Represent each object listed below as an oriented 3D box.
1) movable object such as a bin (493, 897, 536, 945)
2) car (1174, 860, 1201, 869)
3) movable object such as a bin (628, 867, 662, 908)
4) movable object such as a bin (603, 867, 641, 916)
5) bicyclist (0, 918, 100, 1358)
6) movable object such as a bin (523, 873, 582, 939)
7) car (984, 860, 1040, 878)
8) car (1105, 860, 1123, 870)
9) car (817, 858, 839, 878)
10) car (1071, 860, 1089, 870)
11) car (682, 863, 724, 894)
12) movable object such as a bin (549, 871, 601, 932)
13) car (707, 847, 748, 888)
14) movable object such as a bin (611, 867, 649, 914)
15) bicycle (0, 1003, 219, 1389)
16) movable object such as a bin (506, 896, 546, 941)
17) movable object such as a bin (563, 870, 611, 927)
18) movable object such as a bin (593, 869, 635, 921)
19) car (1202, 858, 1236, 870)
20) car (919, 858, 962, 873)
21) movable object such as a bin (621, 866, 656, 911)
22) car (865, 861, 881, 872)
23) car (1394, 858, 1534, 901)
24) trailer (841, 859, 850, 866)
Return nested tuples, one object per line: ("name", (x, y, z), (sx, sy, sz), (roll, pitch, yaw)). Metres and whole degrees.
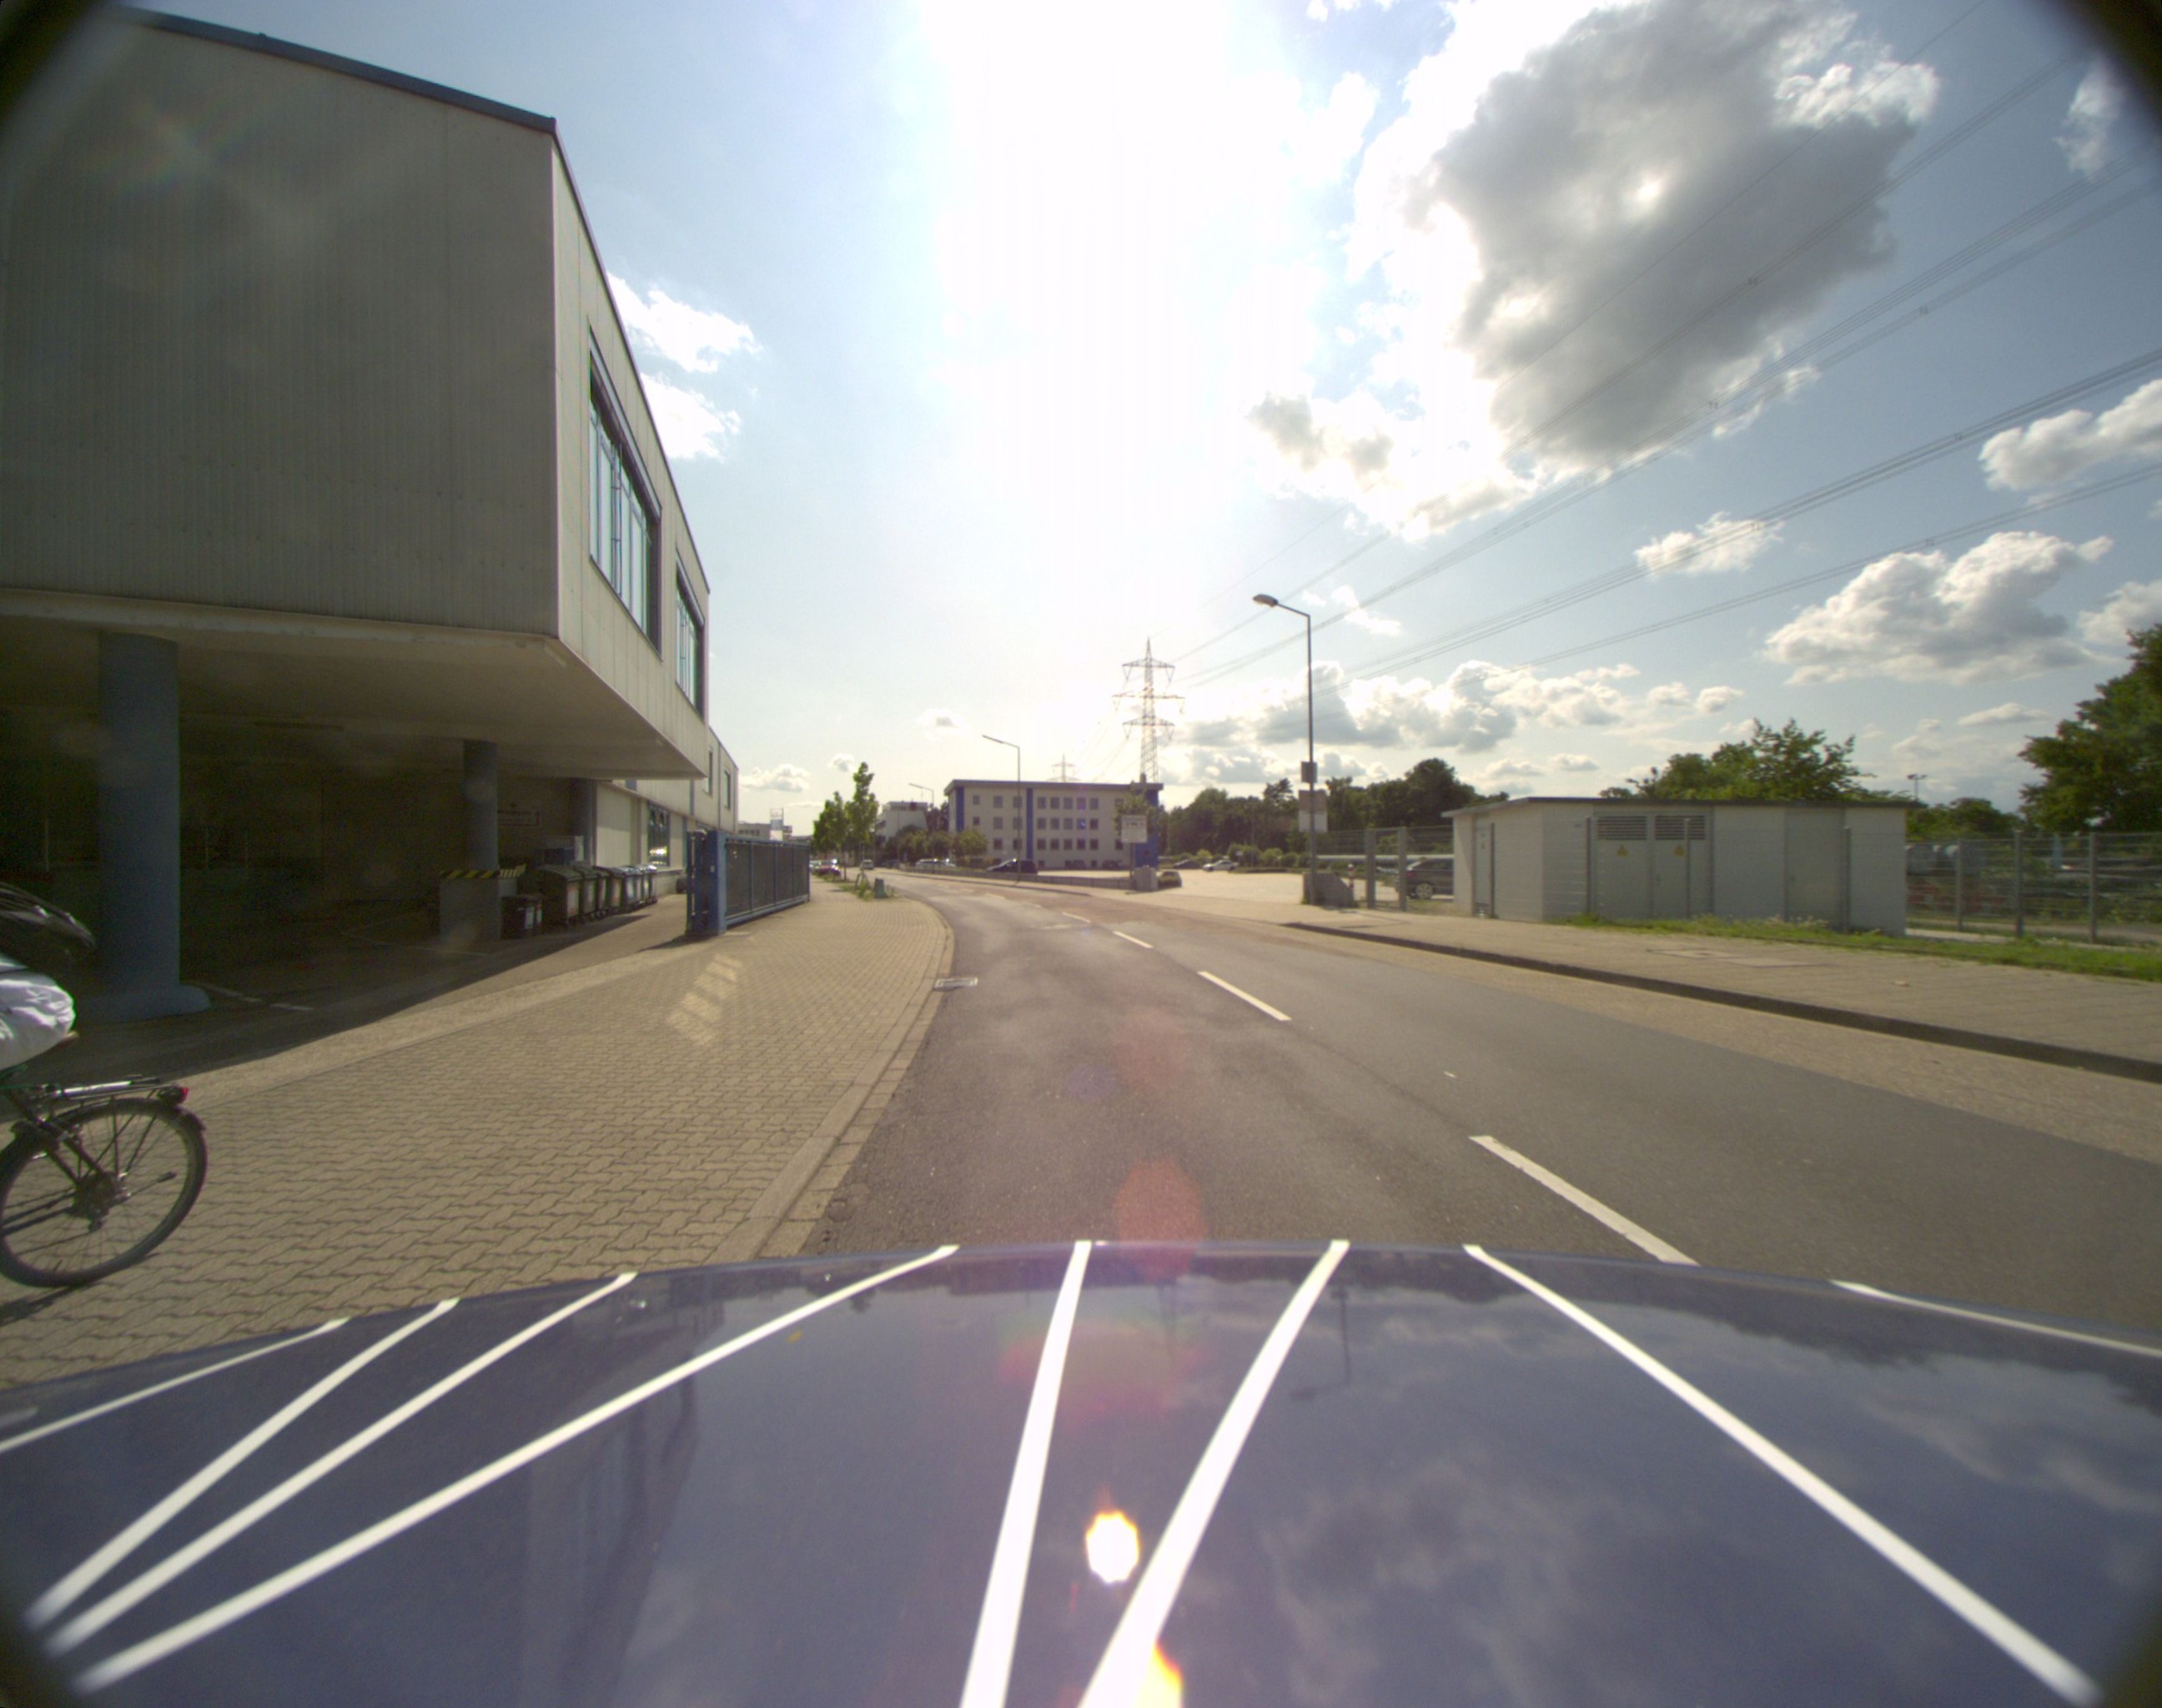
("movable object such as a bin", (-12.057, 1.421, 16.184), (0.590, 0.938, 0.543), (-2, 1, -23))
("car", (15.910, 1.570, 113.775), (3.611, 1.244, 1.801), (0, 0, -13))
("movable object such as a bin", (-15.560, 1.175, 27.139), (0.807, 1.405, 1.355), (-2, 1, -22))
("movable object such as a bin", (-14.020, 1.137, 23.237), (0.807, 1.405, 1.172), (-2, 1, -23))
("bicyclist", (-3.778, 0.924, 2.235), (0.665, 1.389, 0.857), (0, 1, -9))
("movable object such as a bin", (-12.235, 1.167, 17.631), (0.807, 1.405, 1.355), (-2, 1, -23))
("car", (-5.415, 1.173, 59.604), (4.004, 1.368, 1.800), (0, 0, -21))
("car", (4.746, 1.524, 109.652), (1.568, 1.368, 3.674), (-1, 1, -17))
("car", (-22.737, 1.186, 68.235), (1.762, 1.641, 4.669), (-1, 1, -20))
("car", (-0.230, 1.555, 108.925), (1.568, 1.368, 3.675), (-1, 0, -17))
("car", (-19.220, 1.212, 38.744), (1.502, 1.395, 3.847), (-1, 1, -21))
("movable object such as a bin", (-12.639, 1.160, 19.028), (0.807, 1.405, 1.355), (-2, 1, -23))
("car", (-22.731, 0.799, 49.031), (1.932, 2.449, 5.249), (-1, 1, -21))
("movable object such as a bin", (-14.494, 1.144, 24.456), (0.807, 1.405, 1.355), (-2, 1, -22))
("bicycle", (-3.755, 1.173, 2.045), (0.668, 1.102, 2.165), (0, 0, -10))
("movable object such as a bin", (-12.177, 1.406, 16.670), (0.601, 0.905, 0.417), (-2, 1, -23))
("movable object such as a bin", (-13.187, 1.153, 20.328), (0.807, 1.405, 1.403), (-2, 1, -23))
("movable object such as a bin", (-13.472, 1.151, 21.961), (0.807, 1.405, 1.424), (-2, 1, -23))
("car", (17.554, 1.208, 96.636), (3.826, 1.465, 1.802), (0, 0, -8))
("car", (-16.979, 1.365, 91.614), (4.775, 1.593, 1.996), (-1, 1, -21))
("movable object such as a bin", (-15.002, 1.147, 25.788), (0.807, 1.405, 1.355), (-2, 1, -22))
("car", (-34.426, 2.075, 125.646), (1.875, 1.698, 4.744), (-2, 1, -22))
("car", (13.023, 0.845, 26.073), (3.993, 1.370, 1.805), (0, 0, 13))
("trailer", (-54.871, 1.887, 176.892), (1.774, 1.431, 4.327), (-4, 2, -21))
